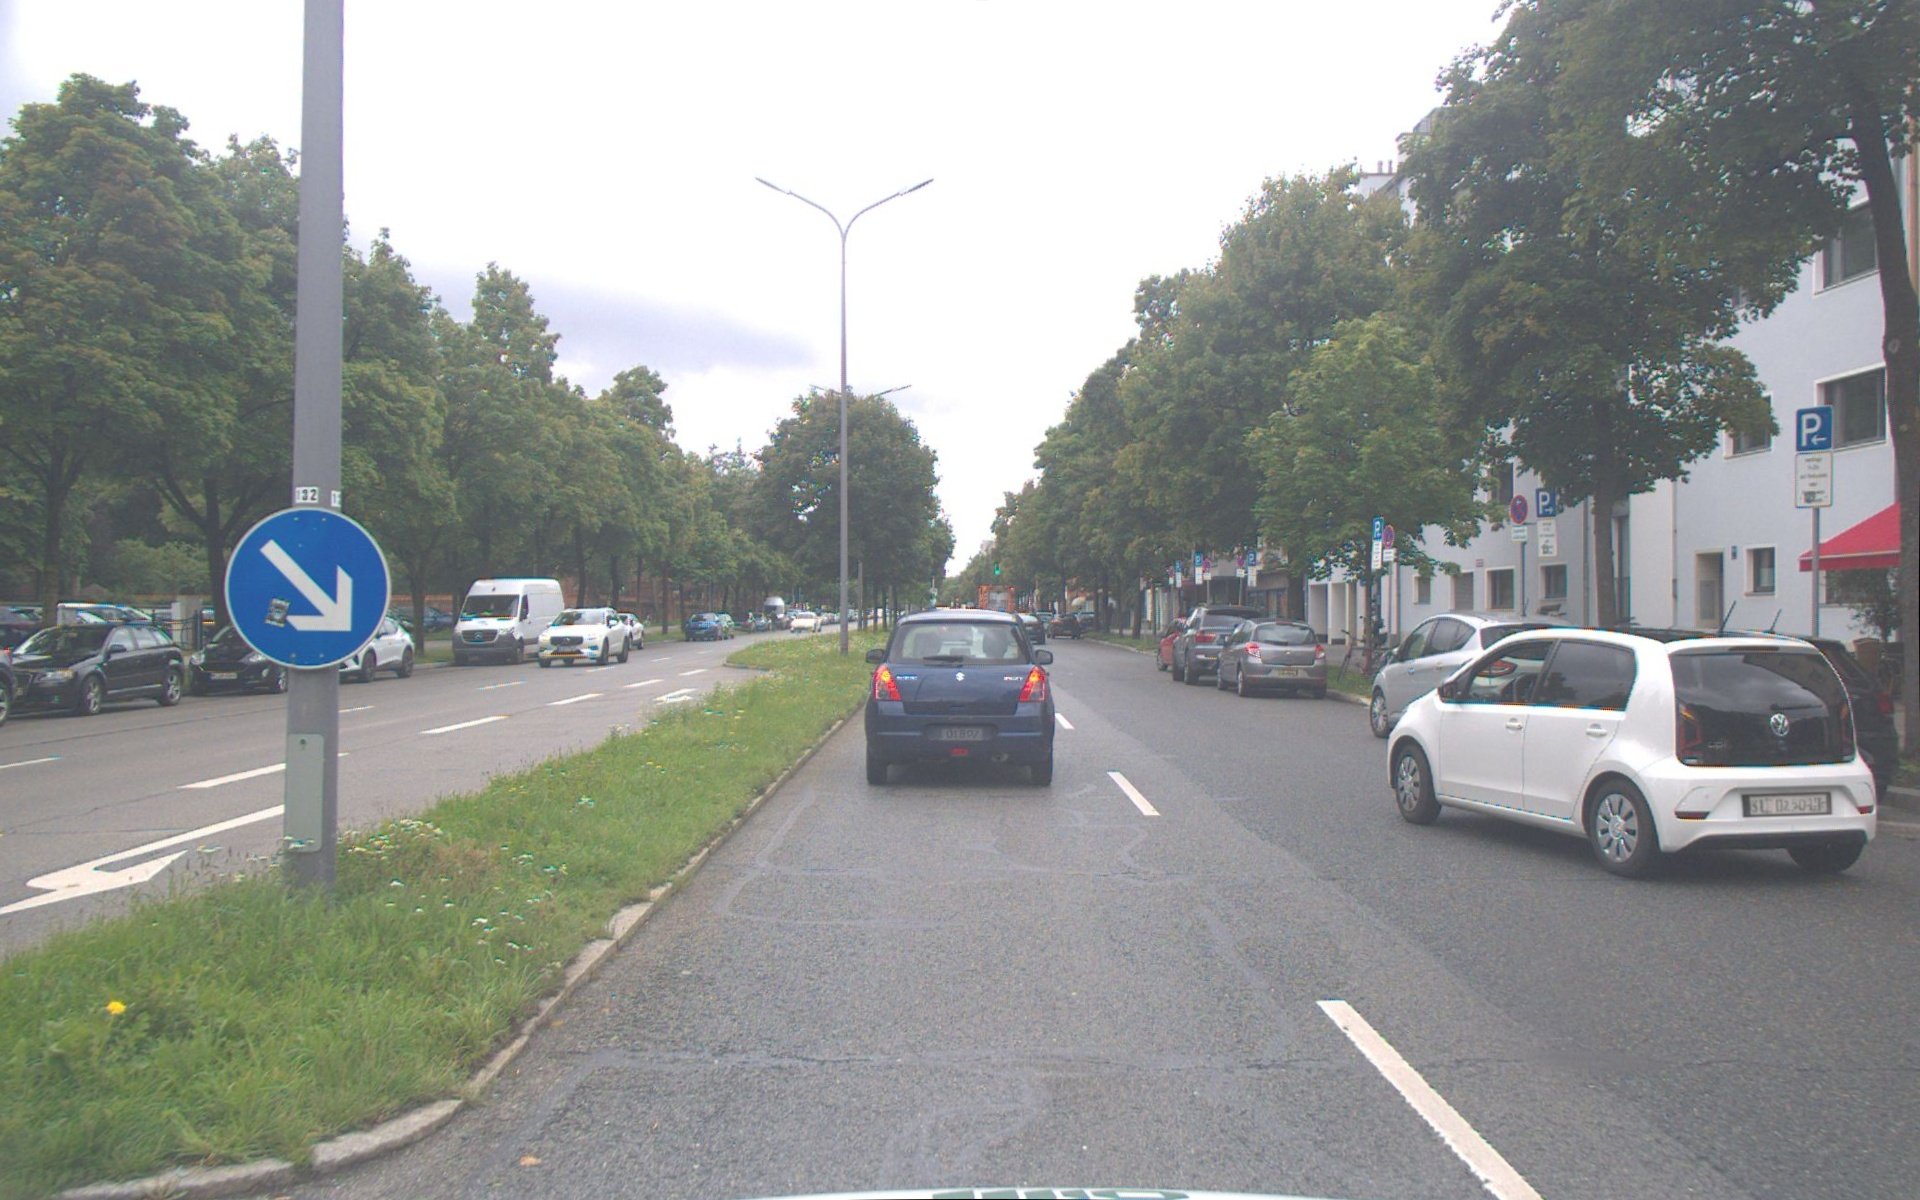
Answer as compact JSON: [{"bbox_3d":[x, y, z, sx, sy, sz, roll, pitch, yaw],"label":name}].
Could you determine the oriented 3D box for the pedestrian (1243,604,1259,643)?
[{"bbox_3d":[12.656,1.024,71.940,0.537,1.658,0.641,-1,-1,0],"label":"pedestrian"}]

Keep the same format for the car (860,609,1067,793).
[{"bbox_3d":[0.053,0.851,15.770,1.717,1.531,4.000,0,0,1],"label":"car"}]

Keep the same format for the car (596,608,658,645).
[{"bbox_3d":[-14.002,1.138,69.701,1.819,1.517,4.140,0,-1,-1],"label":"car"}]

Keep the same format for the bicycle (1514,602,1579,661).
[{"bbox_3d":[14.967,0.799,42.253,0.688,1.432,2.592,-2,0,0],"label":"bicycle"}]

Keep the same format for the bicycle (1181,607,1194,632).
[{"bbox_3d":[13.563,1.161,98.666,0.568,1.489,1.688,0,0,0],"label":"bicycle"}]

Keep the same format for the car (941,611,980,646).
[{"bbox_3d":[0.000,1.254,75.069,1.683,1.527,4.300,1,0,0],"label":"car"}]

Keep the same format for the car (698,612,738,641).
[{"bbox_3d":[-14.029,1.509,96.058,1.605,1.564,4.314,-3,0,0],"label":"car"}]

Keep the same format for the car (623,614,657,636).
[{"bbox_3d":[-24.190,1.867,125.238,1.776,1.563,4.297,1,0,-1],"label":"car"}]

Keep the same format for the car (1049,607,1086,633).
[{"bbox_3d":[6.315,1.184,97.728,1.953,1.477,4.000,0,0,0],"label":"car"}]

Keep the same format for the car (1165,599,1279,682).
[{"bbox_3d":[5.898,0.882,37.670,1.792,1.777,4.507,0,0,-1],"label":"car"}]

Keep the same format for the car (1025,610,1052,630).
[{"bbox_3d":[5.773,1.478,122.242,1.620,1.477,3.998,0,0,-2],"label":"car"}]

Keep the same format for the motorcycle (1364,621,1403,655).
[{"bbox_3d":[14.379,1.277,56.232,0.745,1.105,2.199,0,0,0],"label":"motorcycle"}]

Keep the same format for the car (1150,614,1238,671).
[{"bbox_3d":[6.265,1.118,44.688,1.491,1.466,3.995,0,0,-5],"label":"car"}]

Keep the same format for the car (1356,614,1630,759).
[{"bbox_3d":[6.298,0.954,20.106,1.792,1.549,4.522,0,0,-1],"label":"car"}]

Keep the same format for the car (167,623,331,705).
[{"bbox_3d":[-14.179,1.228,33.232,1.786,1.473,3.996,-1,0,-4],"label":"car"}]

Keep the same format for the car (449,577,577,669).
[{"bbox_3d":[-14.093,0.689,52.649,2.096,2.690,7.105,-1,0,0],"label":"car"}]

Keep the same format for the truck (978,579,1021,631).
[{"bbox_3d":[2.814,0.400,121.873,2.979,3.619,13.674,1,0,1],"label":"truck"}]

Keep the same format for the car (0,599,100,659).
[{"bbox_3d":[-25.902,0.791,45.155,3.904,1.598,1.815,0,0,1],"label":"car"}]

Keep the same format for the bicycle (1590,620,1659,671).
[{"bbox_3d":[14.992,1.006,37.353,0.609,1.064,2.195,-4,0,0],"label":"bicycle"}]

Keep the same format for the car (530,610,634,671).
[{"bbox_3d":[-10.917,1.142,48.137,1.984,1.648,4.683,-1,0,-1],"label":"car"}]

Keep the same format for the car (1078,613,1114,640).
[{"bbox_3d":[8.628,1.674,105.078,1.953,1.671,4.332,0,0,0],"label":"car"}]

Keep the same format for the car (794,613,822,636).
[{"bbox_3d":[-11.179,1.785,121.859,1.726,1.564,4.312,-3,0,-3],"label":"car"}]

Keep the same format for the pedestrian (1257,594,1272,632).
[{"bbox_3d":[13.372,0.572,72.580,0.530,1.669,0.724,0,-1,0],"label":"pedestrian"}]

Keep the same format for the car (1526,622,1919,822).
[{"bbox_3d":[6.698,0.958,14.626,1.793,1.499,3.884,0,0,-5],"label":"car"}]

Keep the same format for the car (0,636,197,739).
[{"bbox_3d":[-14.165,1.360,26.608,1.784,1.434,4.001,-2,0,2],"label":"car"}]

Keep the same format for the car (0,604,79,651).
[{"bbox_3d":[-42.096,1.218,73.870,4.413,2.070,2.000,0,0,-1],"label":"car"}]

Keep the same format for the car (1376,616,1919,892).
[{"bbox_3d":[4.421,0.879,11.100,1.660,1.516,3.418,0,0,-17],"label":"car"}]

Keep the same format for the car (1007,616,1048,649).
[{"bbox_3d":[3.278,1.577,81.034,1.784,1.503,4.690,2,0,0],"label":"car"}]

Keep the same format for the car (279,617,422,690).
[{"bbox_3d":[-14.102,1.235,38.523,1.785,1.554,4.297,-2,-1,-1],"label":"car"}]

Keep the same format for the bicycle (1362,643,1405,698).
[{"bbox_3d":[7.947,1.305,31.070,0.377,0.963,1.675,0,0,0],"label":"bicycle"}]

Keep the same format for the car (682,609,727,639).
[{"bbox_3d":[-14.009,1.307,90.926,1.849,1.564,4.313,-3,0,-2],"label":"car"}]

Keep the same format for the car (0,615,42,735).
[{"bbox_3d":[-13.959,1.008,21.400,1.784,1.627,4.113,0,-1,1],"label":"car"}]

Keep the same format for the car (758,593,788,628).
[{"bbox_3d":[-16.334,0.908,144.759,2.142,3.005,6.188,1,0,-3],"label":"car"}]

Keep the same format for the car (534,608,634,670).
[{"bbox_3d":[-10.828,1.087,47.946,1.813,1.628,4.402,-2,0,0],"label":"car"}]

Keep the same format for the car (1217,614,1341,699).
[{"bbox_3d":[6.205,1.063,32.538,1.791,1.549,3.771,0,0,1],"label":"car"}]
